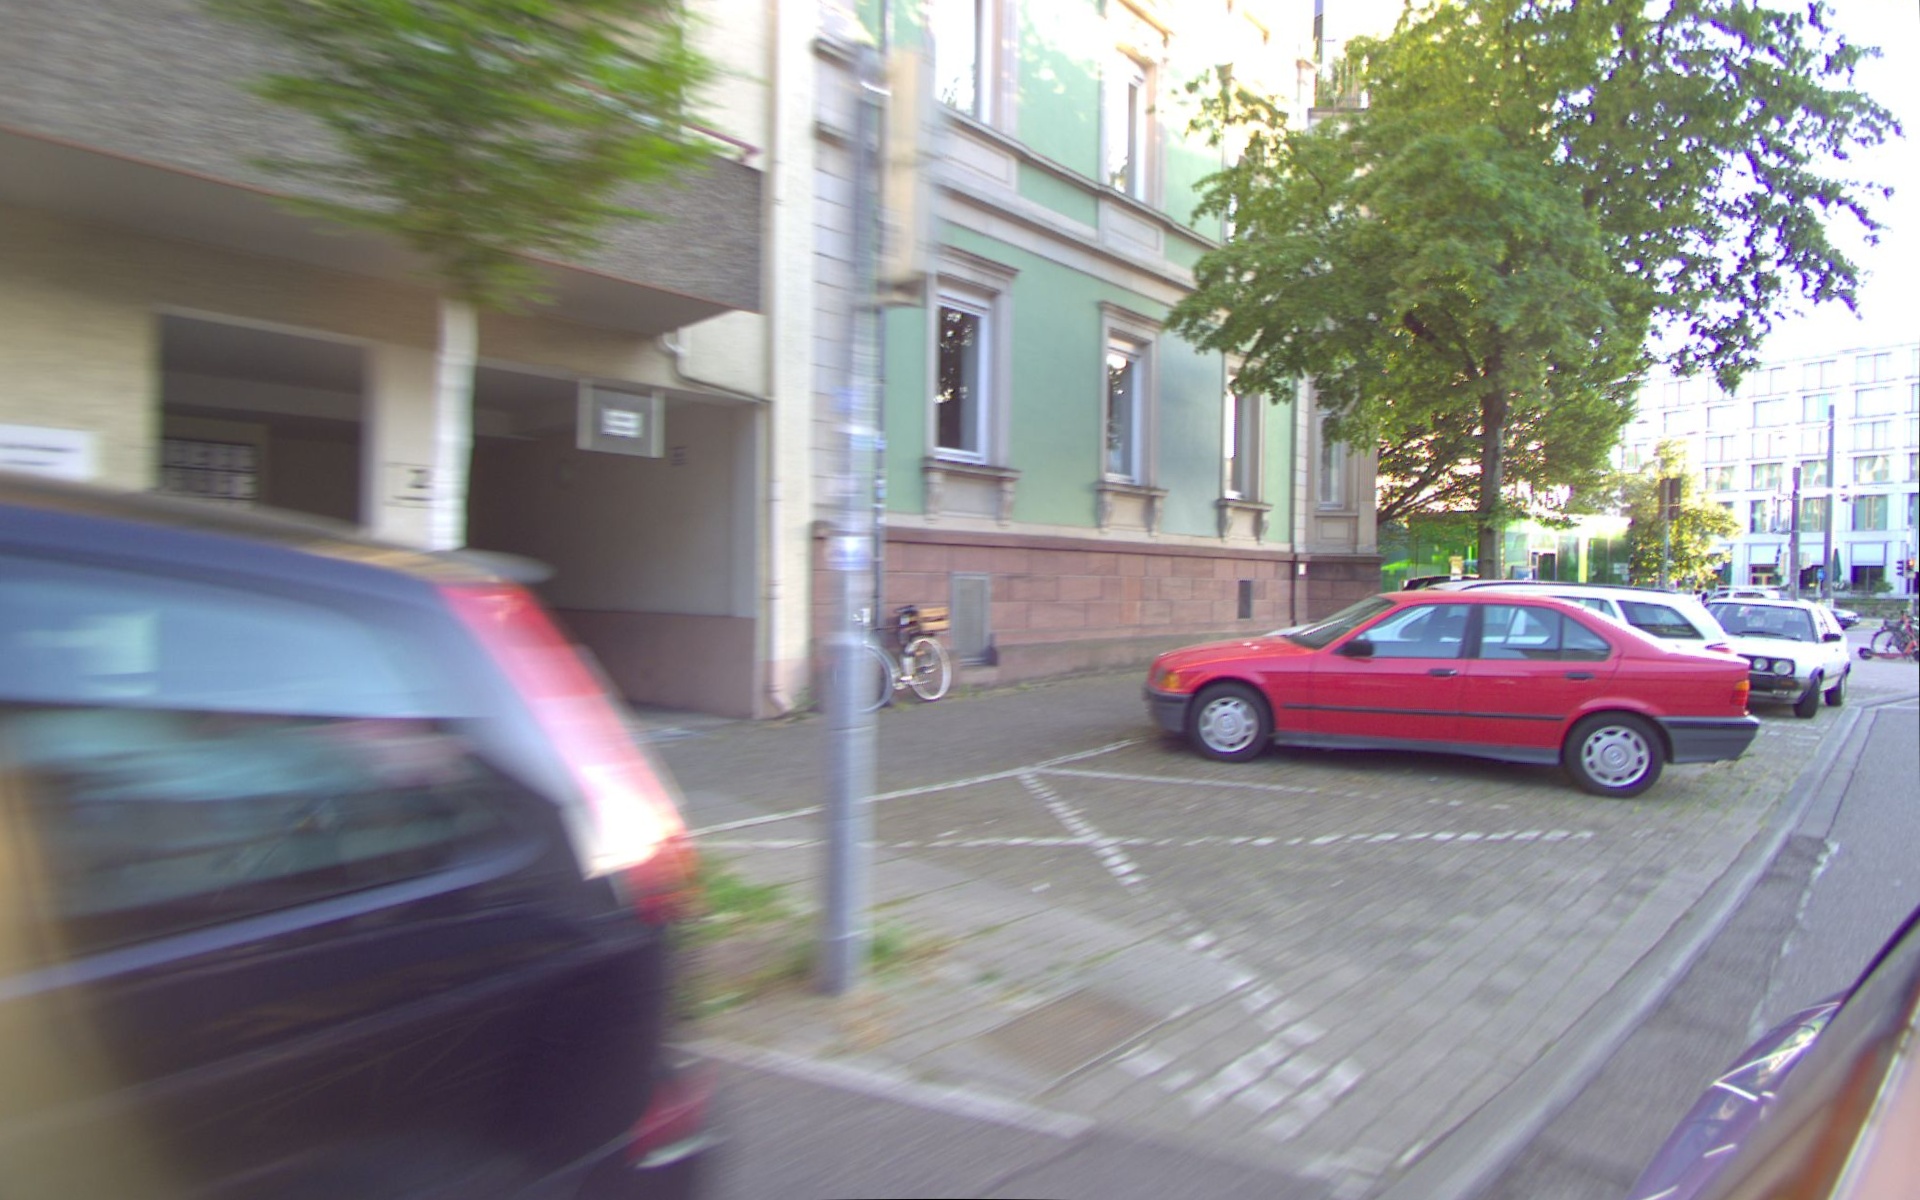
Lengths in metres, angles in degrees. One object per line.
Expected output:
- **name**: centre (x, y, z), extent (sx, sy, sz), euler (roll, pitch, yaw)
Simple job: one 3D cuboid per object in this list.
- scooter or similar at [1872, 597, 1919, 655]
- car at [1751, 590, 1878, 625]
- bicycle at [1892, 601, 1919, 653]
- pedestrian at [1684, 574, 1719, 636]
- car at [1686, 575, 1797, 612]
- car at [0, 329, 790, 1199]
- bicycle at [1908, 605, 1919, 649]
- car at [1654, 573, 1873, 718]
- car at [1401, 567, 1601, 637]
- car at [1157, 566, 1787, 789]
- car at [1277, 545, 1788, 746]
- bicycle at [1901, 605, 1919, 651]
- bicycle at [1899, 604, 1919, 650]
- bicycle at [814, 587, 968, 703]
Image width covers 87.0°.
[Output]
- **scooter or similar**: centre (21.146, 0.581, 22.447), extent (0.579, 1.240, 1.205), euler (0, 3, -32)
- **car**: centre (39.696, 0.303, 47.114), extent (1.665, 1.438, 4.178), euler (0, 2, -30)
- **bicycle**: centre (22.156, 0.622, 22.822), extent (0.729, 1.177, 1.533), euler (0, 1, -30)
- **pedestrian**: centre (21.971, 0.132, 29.971), extent (0.706, 1.790, 0.974), euler (1, 1, 42)
- **car**: centre (42.961, -0.369, 55.724), extent (1.771, 1.935, 4.467), euler (0, 1, -33)
- **car**: centre (-2.323, 0.539, 0.757), extent (4.019, 1.652, 1.746), euler (0, 4, -43)
- **bicycle**: centre (24.421, 0.687, 24.664), extent (0.729, 1.088, 1.763), euler (0, 1, -30)
- **car**: centre (10.821, 0.494, 13.530), extent (3.933, 1.571, 1.683), euler (0, 4, -44)
- **car**: centre (13.304, 0.003, 25.095), extent (1.768, 1.594, 4.000), euler (1, 1, -32)
- **car**: centre (3.743, 0.491, 8.140), extent (4.149, 1.472, 1.638), euler (1, 1, 15)
- **car**: centre (5.427, 0.355, 10.221), extent (4.150, 1.746, 1.714), euler (1, 1, 16)
- **bicycle**: centre (23.029, 0.673, 23.505), extent (0.729, 1.088, 1.558), euler (0, 1, -30)
- **bicycle**: centre (24.902, 0.713, 25.097), extent (0.729, 1.146, 2.240), euler (0, 2, -30)
- **bicycle**: centre (-0.681, 0.422, 10.354), extent (0.650, 1.088, 1.531), euler (1, 1, 44)
